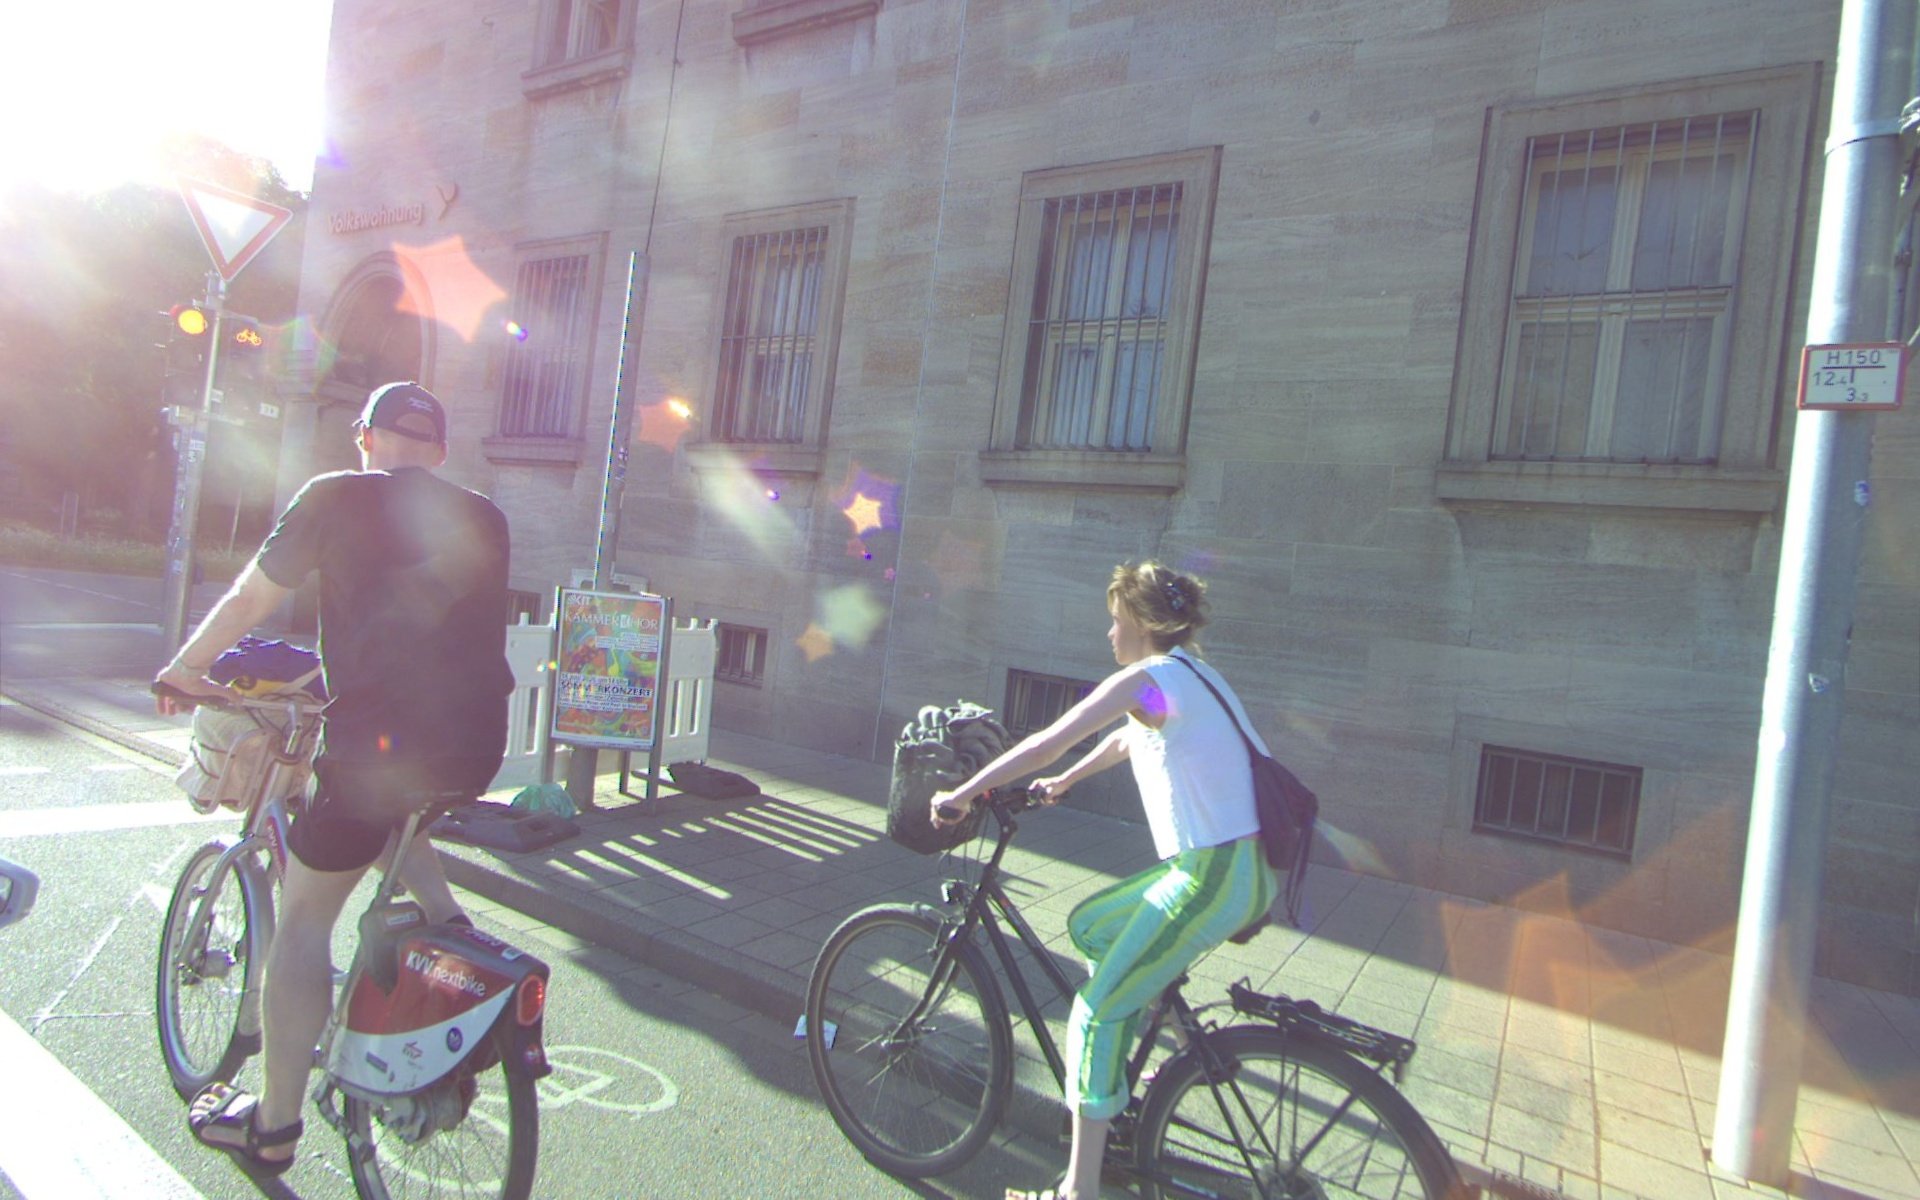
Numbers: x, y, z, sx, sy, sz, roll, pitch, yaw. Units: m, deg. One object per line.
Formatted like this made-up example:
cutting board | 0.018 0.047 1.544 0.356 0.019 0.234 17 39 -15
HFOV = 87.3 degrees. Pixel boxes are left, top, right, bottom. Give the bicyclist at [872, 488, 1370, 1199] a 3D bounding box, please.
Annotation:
bicyclist | 0.376 0.637 2.401 0.845 1.700 0.522 7 1 35

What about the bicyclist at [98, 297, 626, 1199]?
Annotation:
bicyclist | -1.347 0.281 2.314 0.646 1.698 0.670 7 0 31

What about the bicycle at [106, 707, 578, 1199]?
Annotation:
bicycle | -1.697 0.880 2.579 1.923 0.916 0.388 7 0 41

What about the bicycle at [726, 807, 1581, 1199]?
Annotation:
bicycle | 0.305 1.168 2.419 1.919 0.887 0.427 7 1 35
